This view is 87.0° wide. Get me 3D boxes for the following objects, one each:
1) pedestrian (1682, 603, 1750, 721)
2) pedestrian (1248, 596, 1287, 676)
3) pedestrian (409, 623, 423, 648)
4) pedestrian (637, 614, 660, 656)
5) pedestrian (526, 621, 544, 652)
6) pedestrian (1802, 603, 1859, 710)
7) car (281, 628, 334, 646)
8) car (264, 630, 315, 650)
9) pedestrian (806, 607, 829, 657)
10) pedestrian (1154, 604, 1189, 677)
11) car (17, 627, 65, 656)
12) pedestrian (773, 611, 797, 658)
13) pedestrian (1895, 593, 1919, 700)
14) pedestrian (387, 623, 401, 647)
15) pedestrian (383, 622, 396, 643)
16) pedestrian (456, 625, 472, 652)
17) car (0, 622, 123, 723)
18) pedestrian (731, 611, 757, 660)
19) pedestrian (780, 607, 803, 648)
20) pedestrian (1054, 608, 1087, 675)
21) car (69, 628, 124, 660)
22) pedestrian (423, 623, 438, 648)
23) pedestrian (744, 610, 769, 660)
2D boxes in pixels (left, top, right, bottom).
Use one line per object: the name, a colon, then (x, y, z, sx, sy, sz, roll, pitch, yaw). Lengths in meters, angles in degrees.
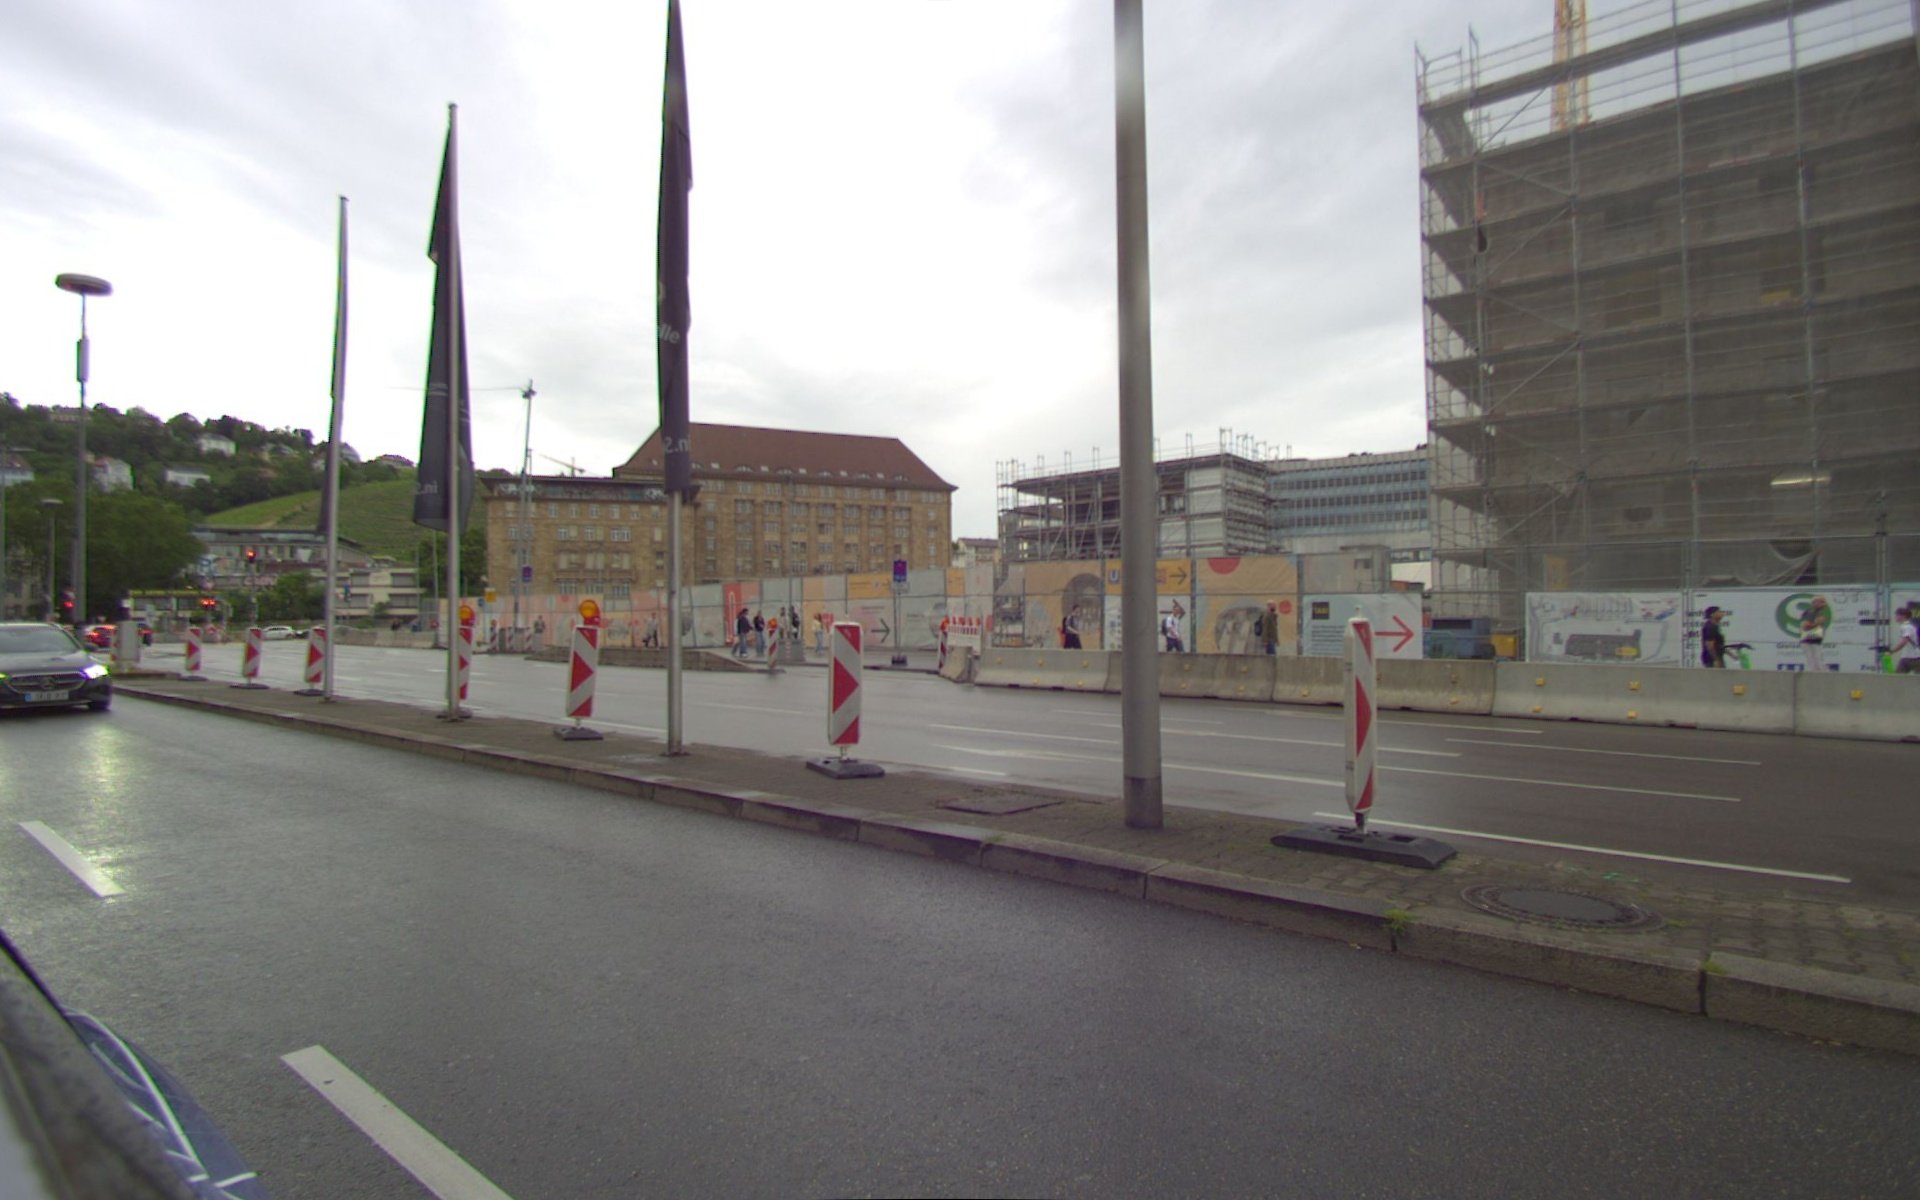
pedestrian: (12.244, 0.987, 16.395, 0.819, 1.850, 0.572, -1, 0, 41)
pedestrian: (7.251, 0.844, 23.840, 0.717, 1.850, 0.475, -1, 0, 41)
pedestrian: (-36.306, 2.364, 67.528, 0.544, 1.628, 0.706, -1, 0, 41)
pedestrian: (-13.896, 1.568, 45.157, 0.720, 1.850, 0.656, -1, 0, 41)
pedestrian: (-22.265, 1.908, 52.999, 0.544, 1.628, 0.706, -1, 0, 41)
pedestrian: (15.371, 0.977, 17.878, 0.717, 1.850, 0.475, -1, 0, 41)
car: (-59.473, 3.355, 92.295, 3.934, 1.644, 2.005, 0, -2, -36)
car: (-68.572, 4.114, 103.560, 4.136, 1.871, 1.833, -1, 0, -44)
pedestrian: (-5.349, 1.204, 38.000, 0.651, 1.850, 0.557, -1, 0, -29)
pedestrian: (5.468, 1.025, 26.177, 0.717, 1.850, 0.475, -1, 0, 41)
car: (-59.946, 2.679, 66.021, 3.913, 1.707, 1.763, -1, 0, 40)
pedestrian: (-6.558, 1.283, 37.872, 0.704, 1.757, 0.565, -1, 0, -29)
pedestrian: (16.835, 0.807, 17.660, 0.717, 1.850, 0.475, -1, 0, 41)
pedestrian: (-40.545, 2.503, 72.531, 0.544, 1.628, 0.706, -1, 0, 41)
pedestrian: (-43.644, 2.481, 77.373, 0.544, 1.628, 0.706, -1, 0, 41)
pedestrian: (-30.858, 2.381, 62.966, 0.544, 1.628, 0.706, -1, 0, 41)
car: (-15.932, 1.146, 17.275, 4.585, 1.480, 1.836, -1, 0, 41)
pedestrian: (-7.893, 1.289, 36.998, 0.704, 1.746, 0.719, -1, 0, -31)
pedestrian: (-6.846, 1.107, 41.192, 0.544, 1.628, 0.706, -1, 0, 41)
pedestrian: (3.094, 1.152, 28.362, 0.717, 1.850, 0.579, -1, 0, 41)
car: (-48.595, 2.456, 56.939, 3.914, 1.707, 1.762, -2, -2, 41)
pedestrian: (-34.860, 2.339, 66.660, 0.544, 1.628, 0.706, -1, 0, 41)
pedestrian: (-7.712, 1.314, 38.336, 0.704, 1.850, 0.719, -1, 0, -31)
